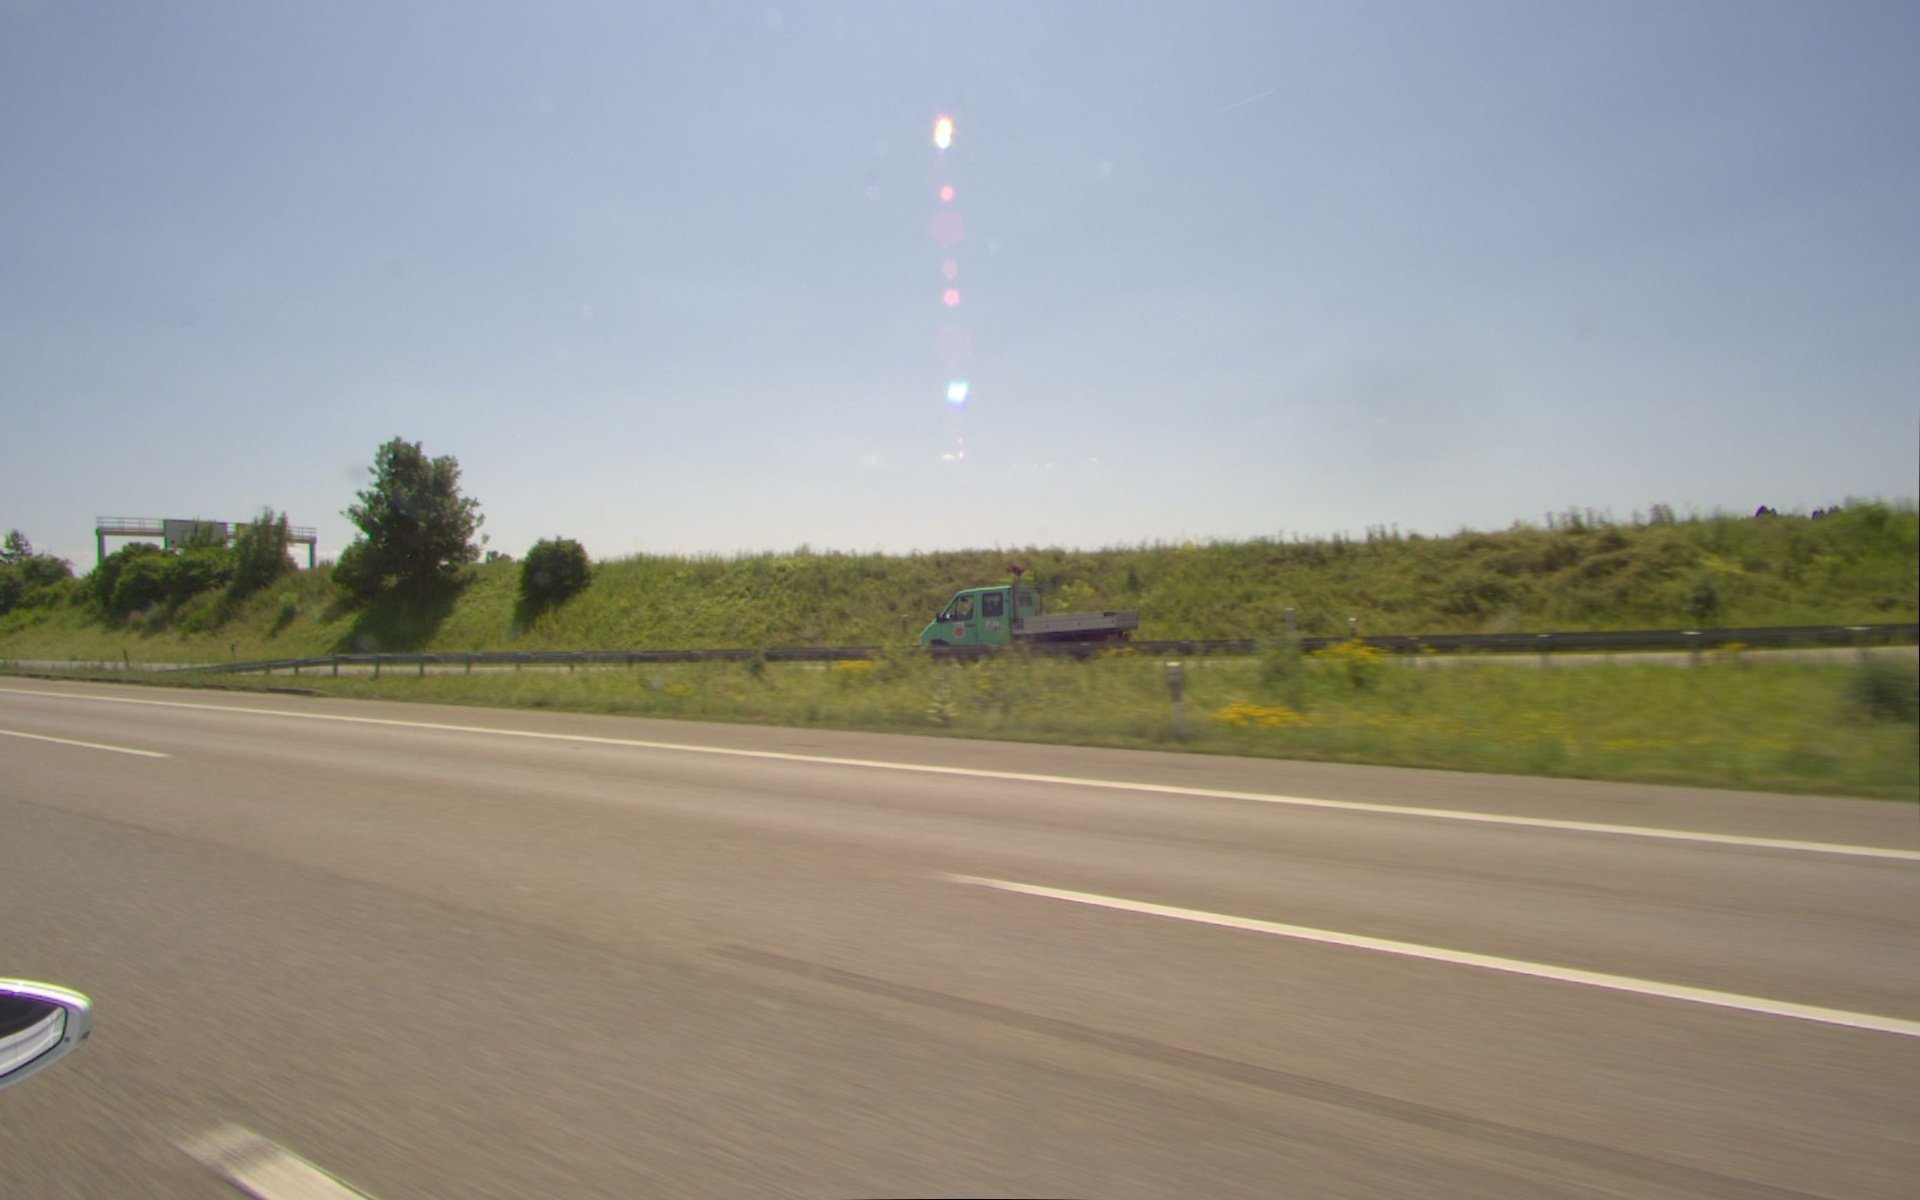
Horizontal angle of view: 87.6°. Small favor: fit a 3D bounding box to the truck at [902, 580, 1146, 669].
[{"bbox_3d":[1.627,0.656,26.181,6.022,2.119,2.164,-1,-1,27],"label":"truck"}]
